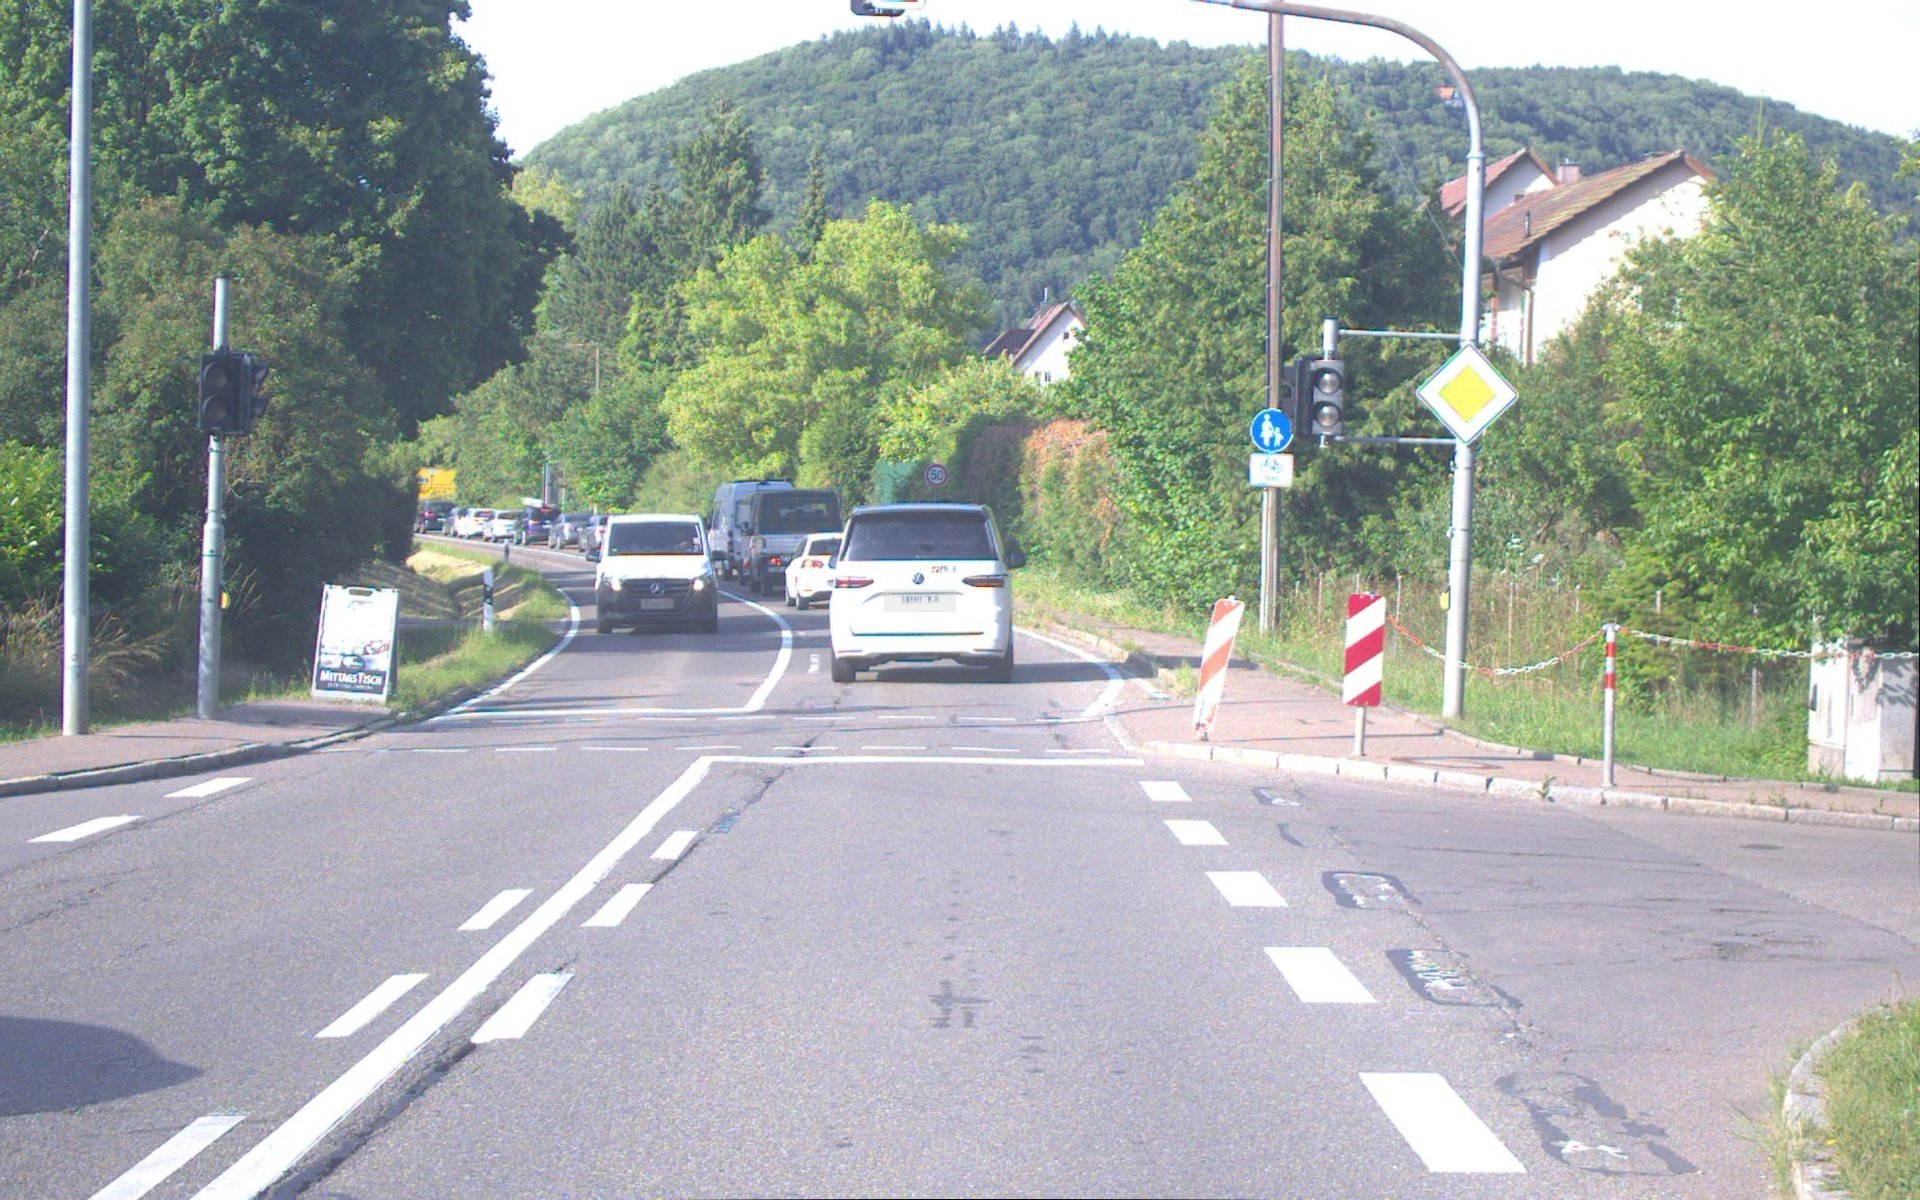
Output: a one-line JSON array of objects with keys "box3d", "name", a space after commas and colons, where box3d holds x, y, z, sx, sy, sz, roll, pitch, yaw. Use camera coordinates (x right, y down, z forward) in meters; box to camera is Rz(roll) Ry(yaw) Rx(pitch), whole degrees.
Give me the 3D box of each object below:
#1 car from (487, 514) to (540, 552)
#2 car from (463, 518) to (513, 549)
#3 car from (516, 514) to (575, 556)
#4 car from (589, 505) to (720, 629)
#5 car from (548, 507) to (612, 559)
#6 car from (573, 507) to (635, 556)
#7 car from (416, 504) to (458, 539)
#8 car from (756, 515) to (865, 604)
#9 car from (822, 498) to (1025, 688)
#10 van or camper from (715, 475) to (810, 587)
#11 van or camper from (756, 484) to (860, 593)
[{"box3d": [-19.946, -2.978, 153.567, 1.941, 1.678, 4.001, -1, 1, -13], "name": "car"}, {"box3d": [-22.344, -3.151, 162.661, 1.941, 1.419, 4.001, 0, 1, -13], "name": "car"}, {"box3d": [-17.519, -2.760, 145.187, 2.040, 1.678, 4.002, 1, 2, -13], "name": "car"}, {"box3d": [-4.932, -0.582, 55.772, 1.993, 1.897, 5.254, -1, 1, -5], "name": "car"}, {"box3d": [-15.112, -2.667, 136.520, 1.993, 2.007, 4.001, 0, 1, -14], "name": "car"}, {"box3d": [-13.279, -2.559, 128.034, 1.796, 1.787, 4.001, 0, 2, -13], "name": "car"}, {"box3d": [-26.961, -4.028, 177.096, 1.771, 1.777, 4.001, 0, 1, -14], "name": "car"}, {"box3d": [-2.959, -0.818, 67.404, 1.993, 1.678, 4.001, 0, 1, -4], "name": "car"}, {"box3d": [-0.334, -0.148, 37.906, 1.993, 1.870, 4.871, 3, 2, 1], "name": "car"}, {"box3d": [-5.346, -1.866, 92.309, 2.414, 2.894, 6.132, 0, 1, -4], "name": "van or camper"}, {"box3d": [-3.474, -1.405, 77.649, 2.179, 2.377, 5.370, 0, 1, -4], "name": "van or camper"}]
